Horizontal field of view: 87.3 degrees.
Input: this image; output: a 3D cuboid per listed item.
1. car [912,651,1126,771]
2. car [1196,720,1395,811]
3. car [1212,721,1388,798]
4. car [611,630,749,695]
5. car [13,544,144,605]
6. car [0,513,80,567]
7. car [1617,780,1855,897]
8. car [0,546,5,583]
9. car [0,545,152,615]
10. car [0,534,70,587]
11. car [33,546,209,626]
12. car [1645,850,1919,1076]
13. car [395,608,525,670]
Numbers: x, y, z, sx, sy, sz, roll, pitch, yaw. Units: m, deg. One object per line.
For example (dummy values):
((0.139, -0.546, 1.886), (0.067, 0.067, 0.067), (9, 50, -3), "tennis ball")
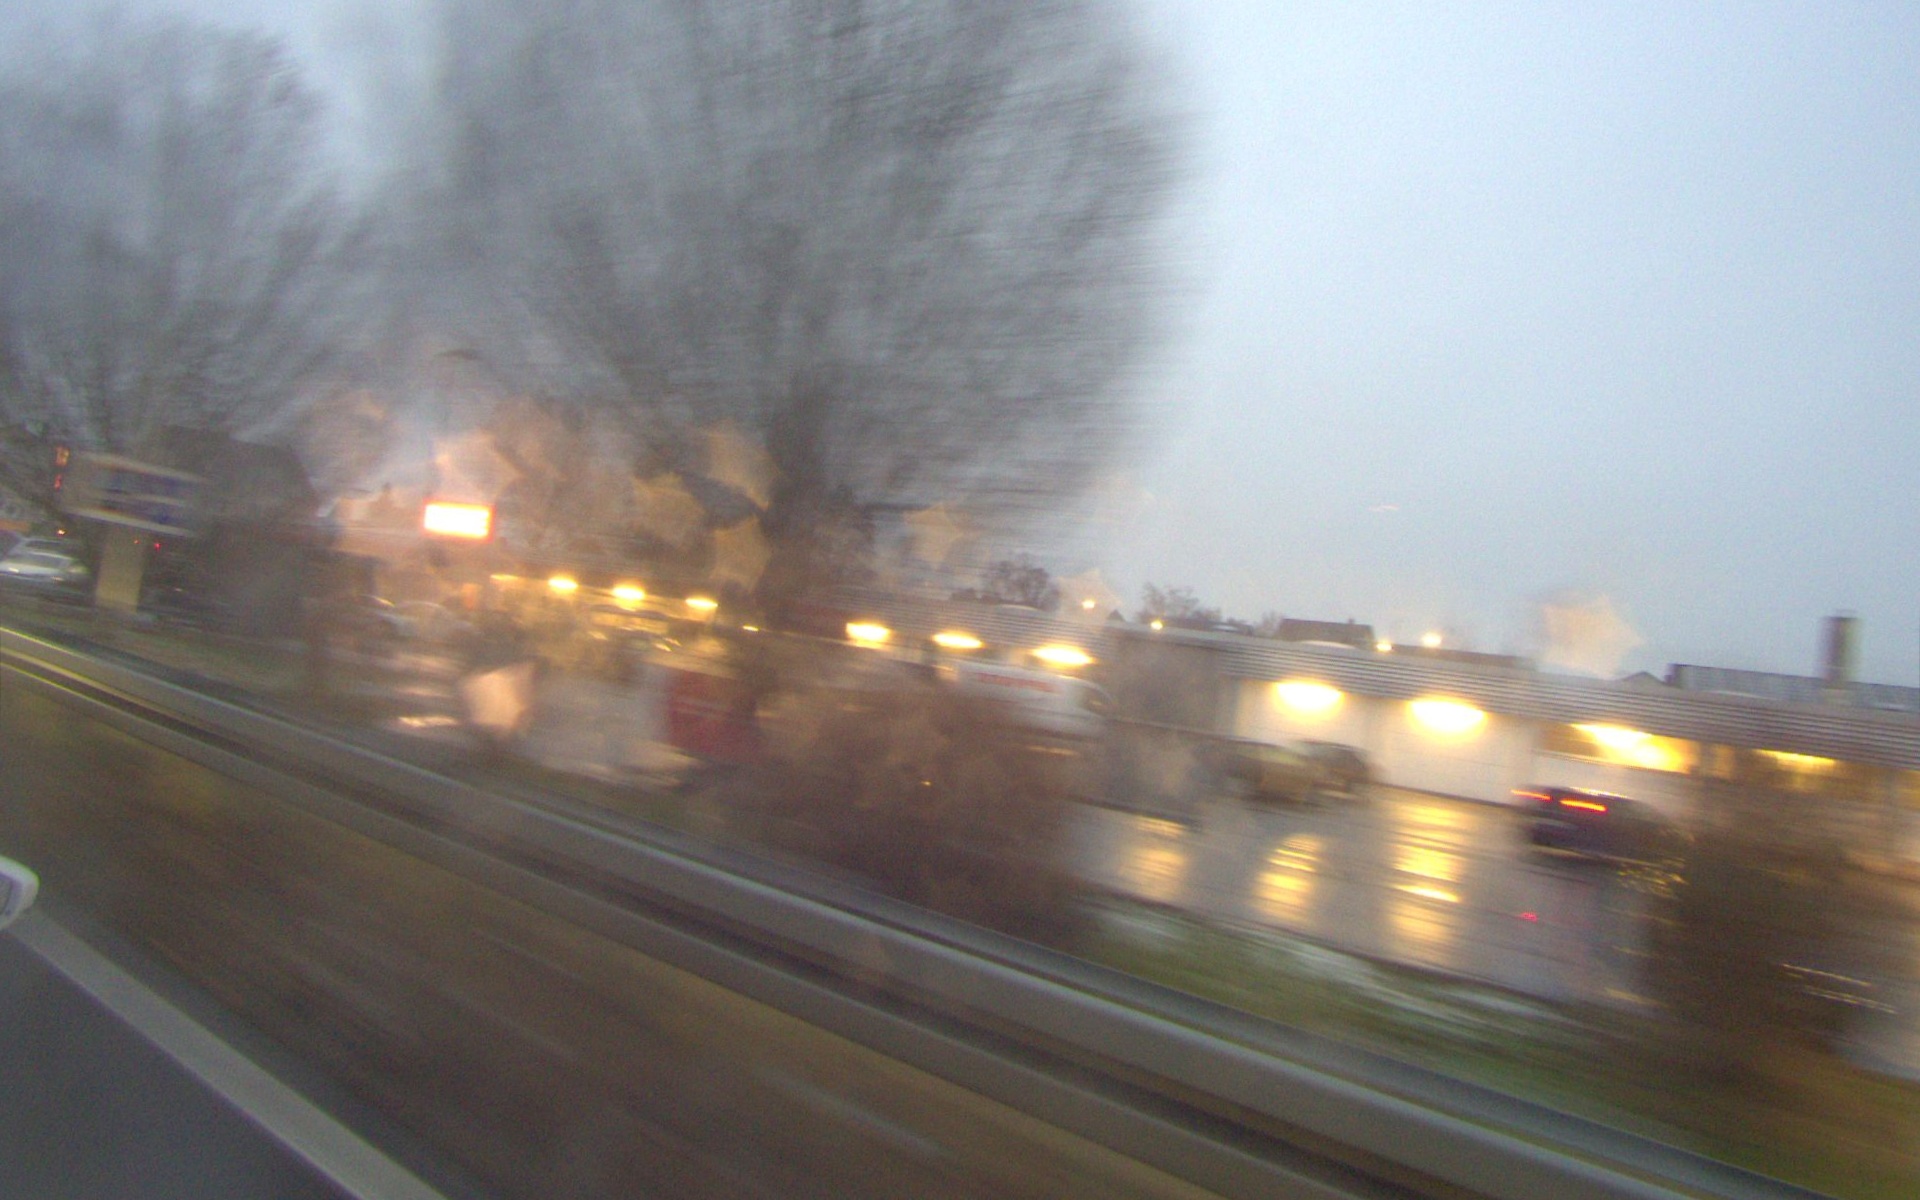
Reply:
((1.672, 3.149, 28.765), (5.545, 2.806, 2.097), (7, -4, -16), "car")
((8.518, 4.199, 25.637), (4.298, 1.781, 2.097), (7, -4, -16), "car")
((9.777, 4.575, 28.992), (4.298, 1.686, 2.097), (7, -4, -16), "car")
((-9.799, 2.197, 35.194), (4.308, 1.785, 2.093), (8, -4, -23), "car")
((-44.579, -1.252, 51.018), (4.312, 2.403, 2.091), (8, -4, -26), "car")
((-59.940, -3.887, 64.852), (4.327, 2.787, 2.083), (9, -5, -35), "car")
((17.612, 5.400, 22.889), (4.298, 2.041, 2.097), (7, -4, -16), "car")
((-39.156, -1.349, 38.104), (1.972, 2.035, 3.987), (3, -5, 39), "car")
((-30.372, -0.646, 34.260), (1.972, 1.813, 3.987), (2, -5, 39), "car")
((-50.984, -2.227, 54.027), (4.327, 2.403, 2.083), (9, -5, -35), "car")
((-27.525, -0.425, 33.104), (1.972, 2.035, 3.987), (3, -5, 39), "car")
((9.254, 3.930, 11.446), (1.632, 1.438, 3.552), (6, -4, 23), "car")
((-19.517, 1.551, 39.452), (4.312, 1.938, 2.091), (8, -4, -26), "car")
